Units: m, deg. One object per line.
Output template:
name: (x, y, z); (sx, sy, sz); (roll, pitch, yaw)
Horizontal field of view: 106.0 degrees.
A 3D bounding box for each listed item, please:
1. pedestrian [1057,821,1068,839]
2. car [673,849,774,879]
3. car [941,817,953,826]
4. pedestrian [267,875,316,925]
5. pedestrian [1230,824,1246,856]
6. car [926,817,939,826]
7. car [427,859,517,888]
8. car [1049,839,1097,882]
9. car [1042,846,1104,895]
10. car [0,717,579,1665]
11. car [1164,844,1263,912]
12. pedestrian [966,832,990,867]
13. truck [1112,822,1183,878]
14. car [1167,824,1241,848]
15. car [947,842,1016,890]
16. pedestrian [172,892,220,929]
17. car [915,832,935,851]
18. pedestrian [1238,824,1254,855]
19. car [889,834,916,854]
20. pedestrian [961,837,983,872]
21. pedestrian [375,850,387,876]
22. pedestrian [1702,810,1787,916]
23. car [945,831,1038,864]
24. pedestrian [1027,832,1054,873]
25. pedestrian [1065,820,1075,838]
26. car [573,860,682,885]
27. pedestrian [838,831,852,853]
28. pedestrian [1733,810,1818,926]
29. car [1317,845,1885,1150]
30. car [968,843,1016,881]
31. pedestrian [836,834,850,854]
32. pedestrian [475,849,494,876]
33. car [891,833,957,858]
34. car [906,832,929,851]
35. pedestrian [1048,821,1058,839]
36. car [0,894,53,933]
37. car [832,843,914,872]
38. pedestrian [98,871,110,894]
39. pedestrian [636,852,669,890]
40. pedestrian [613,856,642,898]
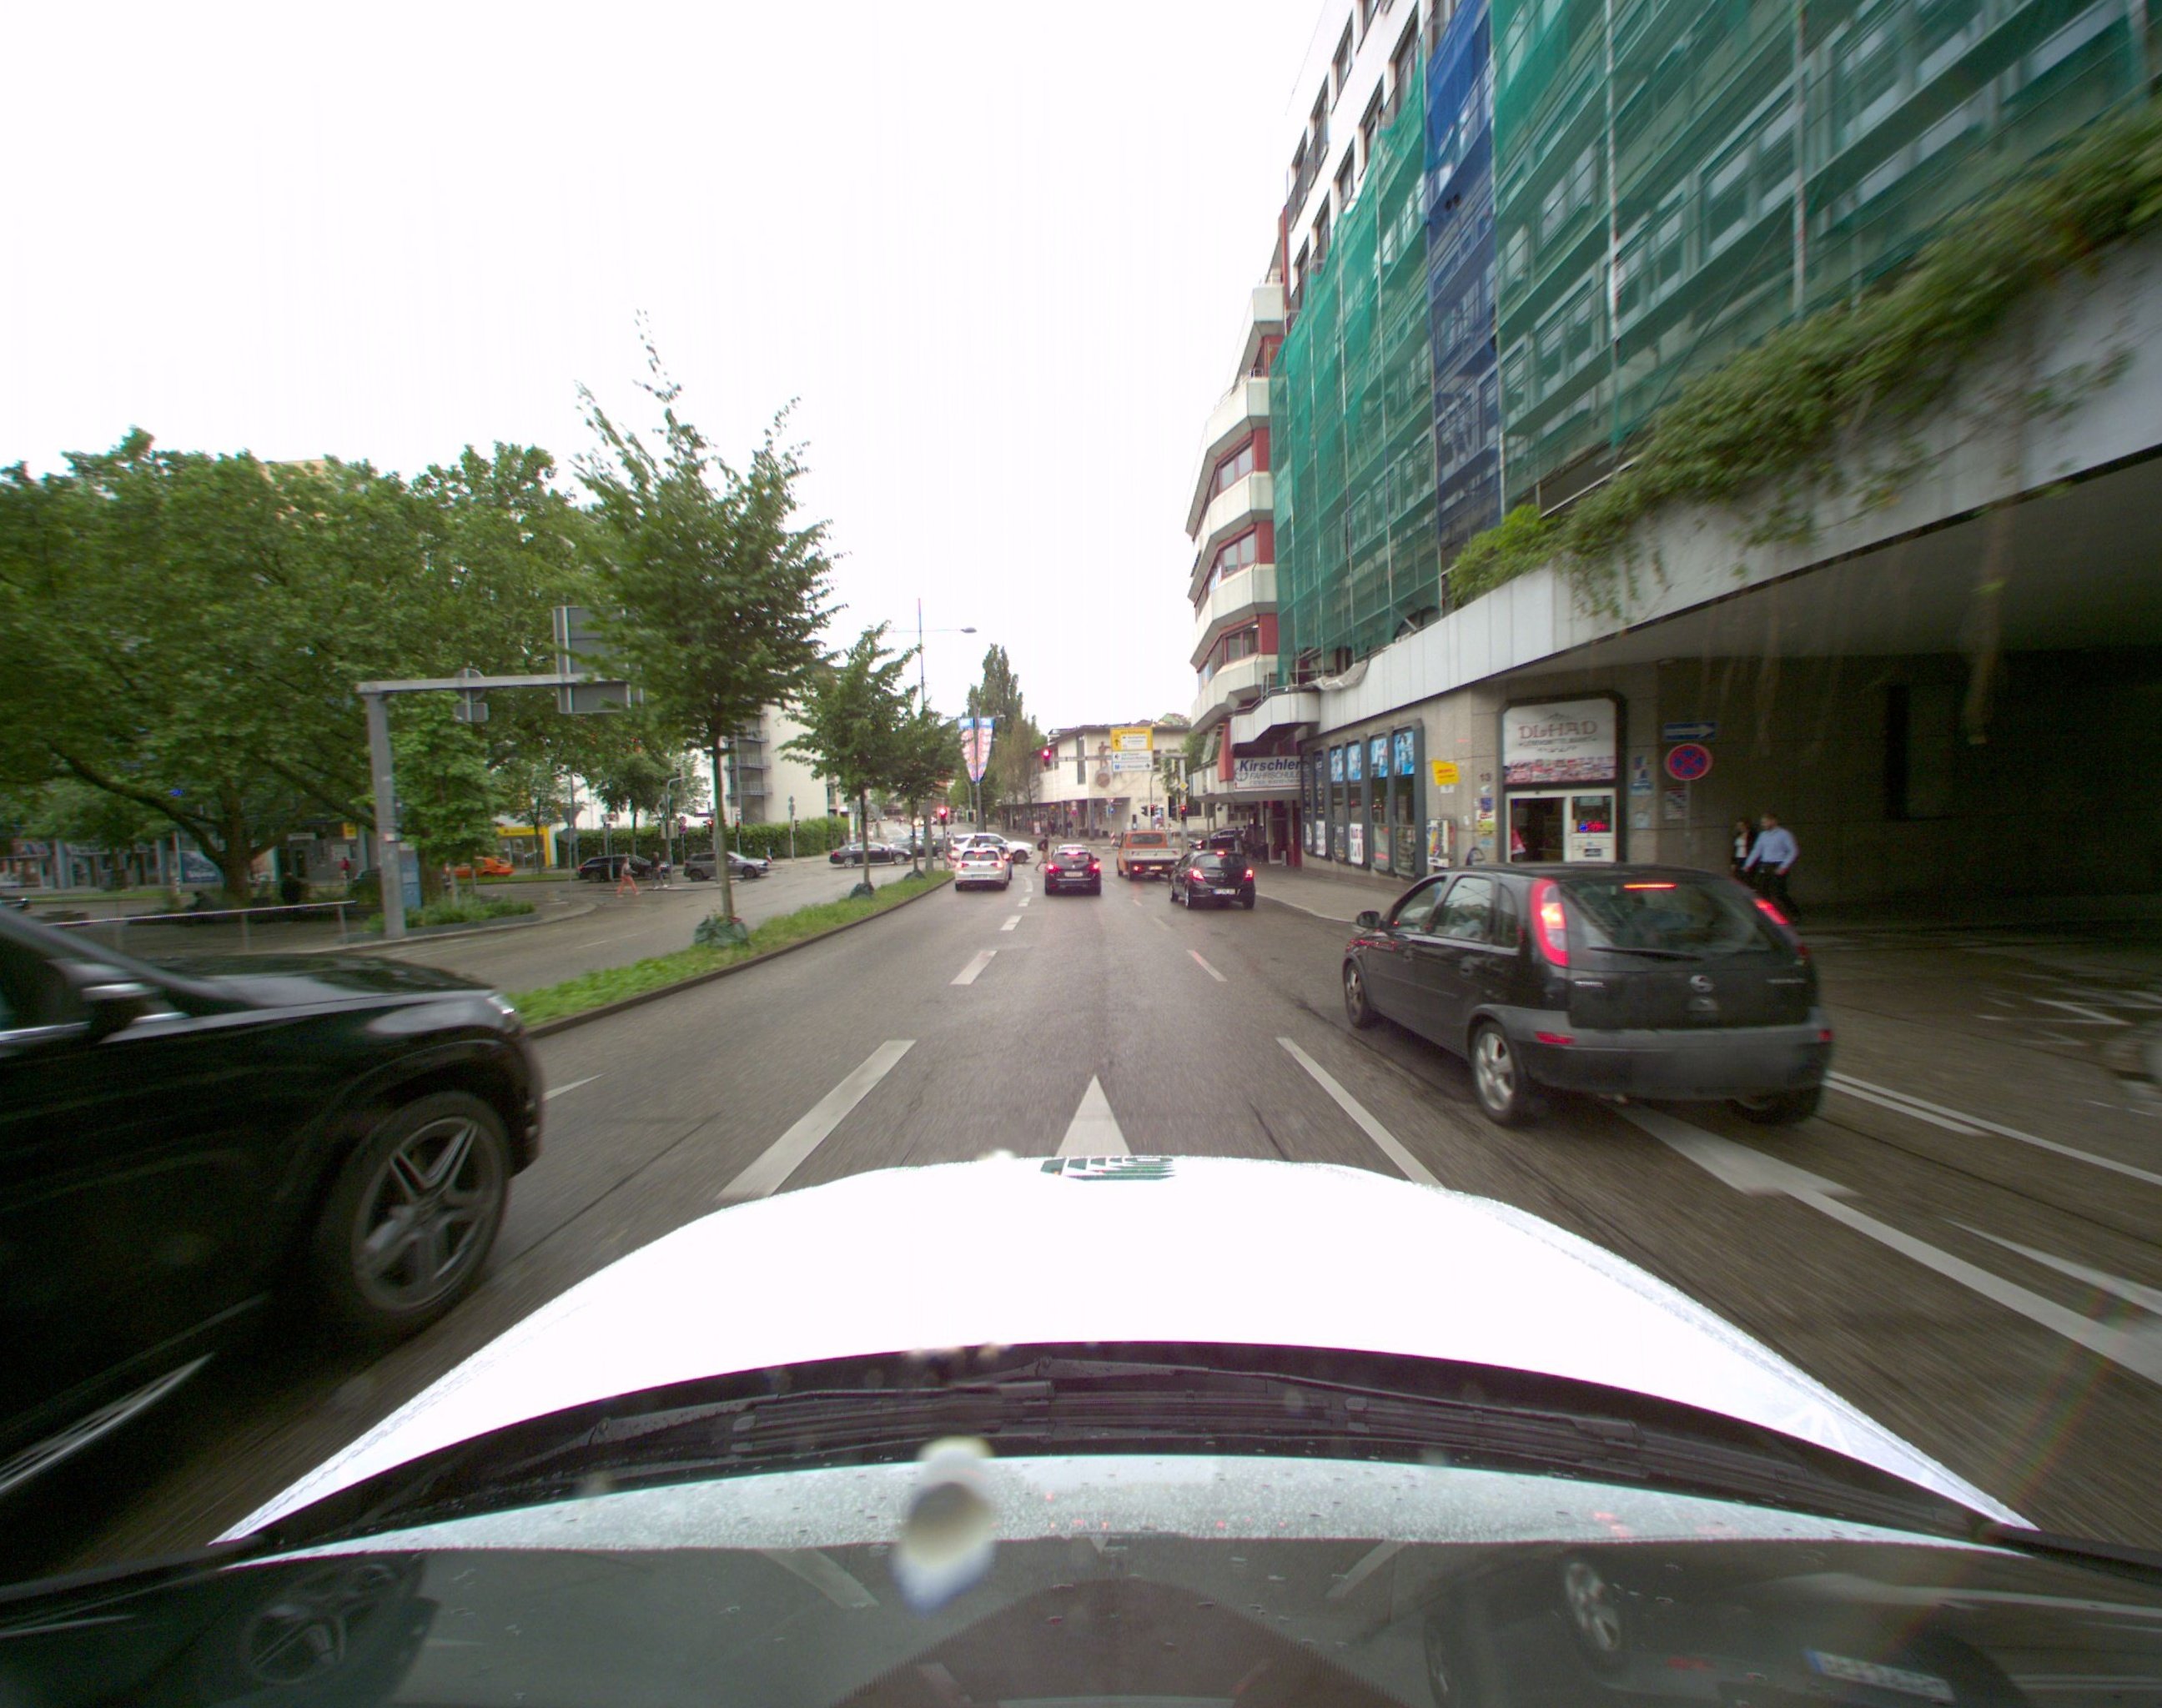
pedestrian: (-1.919, -2.532, 85.190); (0.847, 1.802, 1.051); (-3, 0, -15)
car: (-19.043, 0.518, 43.553); (4.595, 1.482, 1.934); (-1, 0, -13)
car: (-27.043, -6.508, 164.282); (1.834, 1.588, 3.855); (-2, 1, -14)
pedestrian: (-28.782, 1.658, 29.711); (0.752, 1.722, 0.955); (-3, 1, 13)
pedestrian: (8.530, -0.735, 44.327); (0.576, 1.699, 0.648); (-3, 0, -10)
car: (-29.601, -6.400, 162.286); (1.998, 1.596, 3.979); (-2, 1, -16)
car: (-37.356, 1.179, 50.066); (4.000, 1.616, 1.768); (-2, 0, -12)
car: (-0.387, 0.224, 33.244); (1.756, 1.542, 3.996); (-2, 2, -3)
car: (-0.331, 0.483, 26.811); (1.808, 1.441, 3.995); (0, 1, -4)
car: (-3.123, 0.654, 0.905); (2.080, 1.817, 4.794); (0, 1, 1)
car: (3.393, 0.547, 21.597); (1.944, 1.574, 3.999); (-2, 1, 0)
pedestrian: (-5.307, -0.229, 42.010); (1.005, 1.722, 0.839); (-3, 1, 4)
truck: (2.654, -0.195, 33.962); (2.179, 2.082, 5.597); (-2, 1, -3)
car: (8.081, -1.205, 53.772); (4.405, 1.436, 1.990); (-2, 0, -15)
car: (-3.494, 0.368, 29.302); (1.943, 1.574, 4.000); (-2, 1, 0)
pedestrian: (-33.026, 2.092, 30.403); (0.954, 1.272, 0.753); (-3, 1, -27)
car: (-15.099, -1.189, 78.762); (1.705, 1.720, 3.988); (-2, 1, -9)
pedestrian: (9.077, -0.797, 44.833); (0.576, 1.699, 0.647); (-3, 0, -14)
car: (-14.067, -0.783, 64.419); (1.705, 1.451, 3.852); (-2, 1, -7)
pedestrian: (-5.499, 0.028, 41.065); (0.831, 1.722, 0.820); (-3, 1, 6)
pedestrian: (-47.389, 0.591, 55.104); (0.509, 1.709, 0.610); (-4, 1, -42)
pedestrian: (11.521, 0.139, 14.164); (0.716, 1.721, 0.769); (-1, 7, -3)
car: (-5.136, -0.382, 46.518); (5.076, 1.759, 1.992); (-1, 0, -13)
pedestrian: (-1.935, -0.099, 38.963); (1.057, 1.882, 0.840); (-3, 1, 6)
pedestrian: (-1.155, -2.592, 85.520); (0.703, 1.802, 0.934); (-3, 0, -15)
car: (-25.362, 1.032, 45.707); (5.001, 1.272, 1.757); (-1, 0, -13)
pedestrian: (-19.969, -0.996, 68.943); (0.911, 1.802, 0.620); (-4, 0, -41)
pedestrian: (11.307, 0.202, 13.288); (0.614, 1.778, 0.838); (-3, 6, -2)
car: (3.058, 0.680, 5.823); (1.710, 1.420, 3.772); (-2, 0, 2)
car: (-3.776, 0.282, 35.116); (1.790, 1.468, 3.996); (-2, 1, -3)
pedestrian: (-19.716, -0.795, 67.440); (0.931, 1.608, 0.557); (-4, 0, -41)
pedestrian: (-41.039, 0.597, 56.027); (0.614, 1.778, 0.831); (-3, 1, -5)
car: (-10.267, -0.570, 53.490); (3.979, 1.527, 1.845); (-2, 1, -4)
car: (-14.429, -1.114, 72.060); (1.777, 1.549, 3.988); (-2, 1, -9)
pedestrian: (-2.939, -2.496, 85.354); (0.799, 1.802, 0.913); (-3, 0, -15)
car: (-53.230, 2.977, 39.202); (4.585, 1.759, 1.960); (-3, 0, -5)
car: (-12.514, 0.172, 49.047); (4.690, 1.643, 1.778); (-1, 0, -15)
pedestrian: (-61.821, 1.795, 51.507); (0.373, 1.427, 0.375); (-3, 0, 29)
pedestrian: (-20.168, 0.815, 38.362); (0.801, 1.708, 1.063); (-3, 0, 38)
pedestrian: (-20.000, 1.006, 35.931); (0.698, 1.779, 0.884); (-3, 0, 45)
